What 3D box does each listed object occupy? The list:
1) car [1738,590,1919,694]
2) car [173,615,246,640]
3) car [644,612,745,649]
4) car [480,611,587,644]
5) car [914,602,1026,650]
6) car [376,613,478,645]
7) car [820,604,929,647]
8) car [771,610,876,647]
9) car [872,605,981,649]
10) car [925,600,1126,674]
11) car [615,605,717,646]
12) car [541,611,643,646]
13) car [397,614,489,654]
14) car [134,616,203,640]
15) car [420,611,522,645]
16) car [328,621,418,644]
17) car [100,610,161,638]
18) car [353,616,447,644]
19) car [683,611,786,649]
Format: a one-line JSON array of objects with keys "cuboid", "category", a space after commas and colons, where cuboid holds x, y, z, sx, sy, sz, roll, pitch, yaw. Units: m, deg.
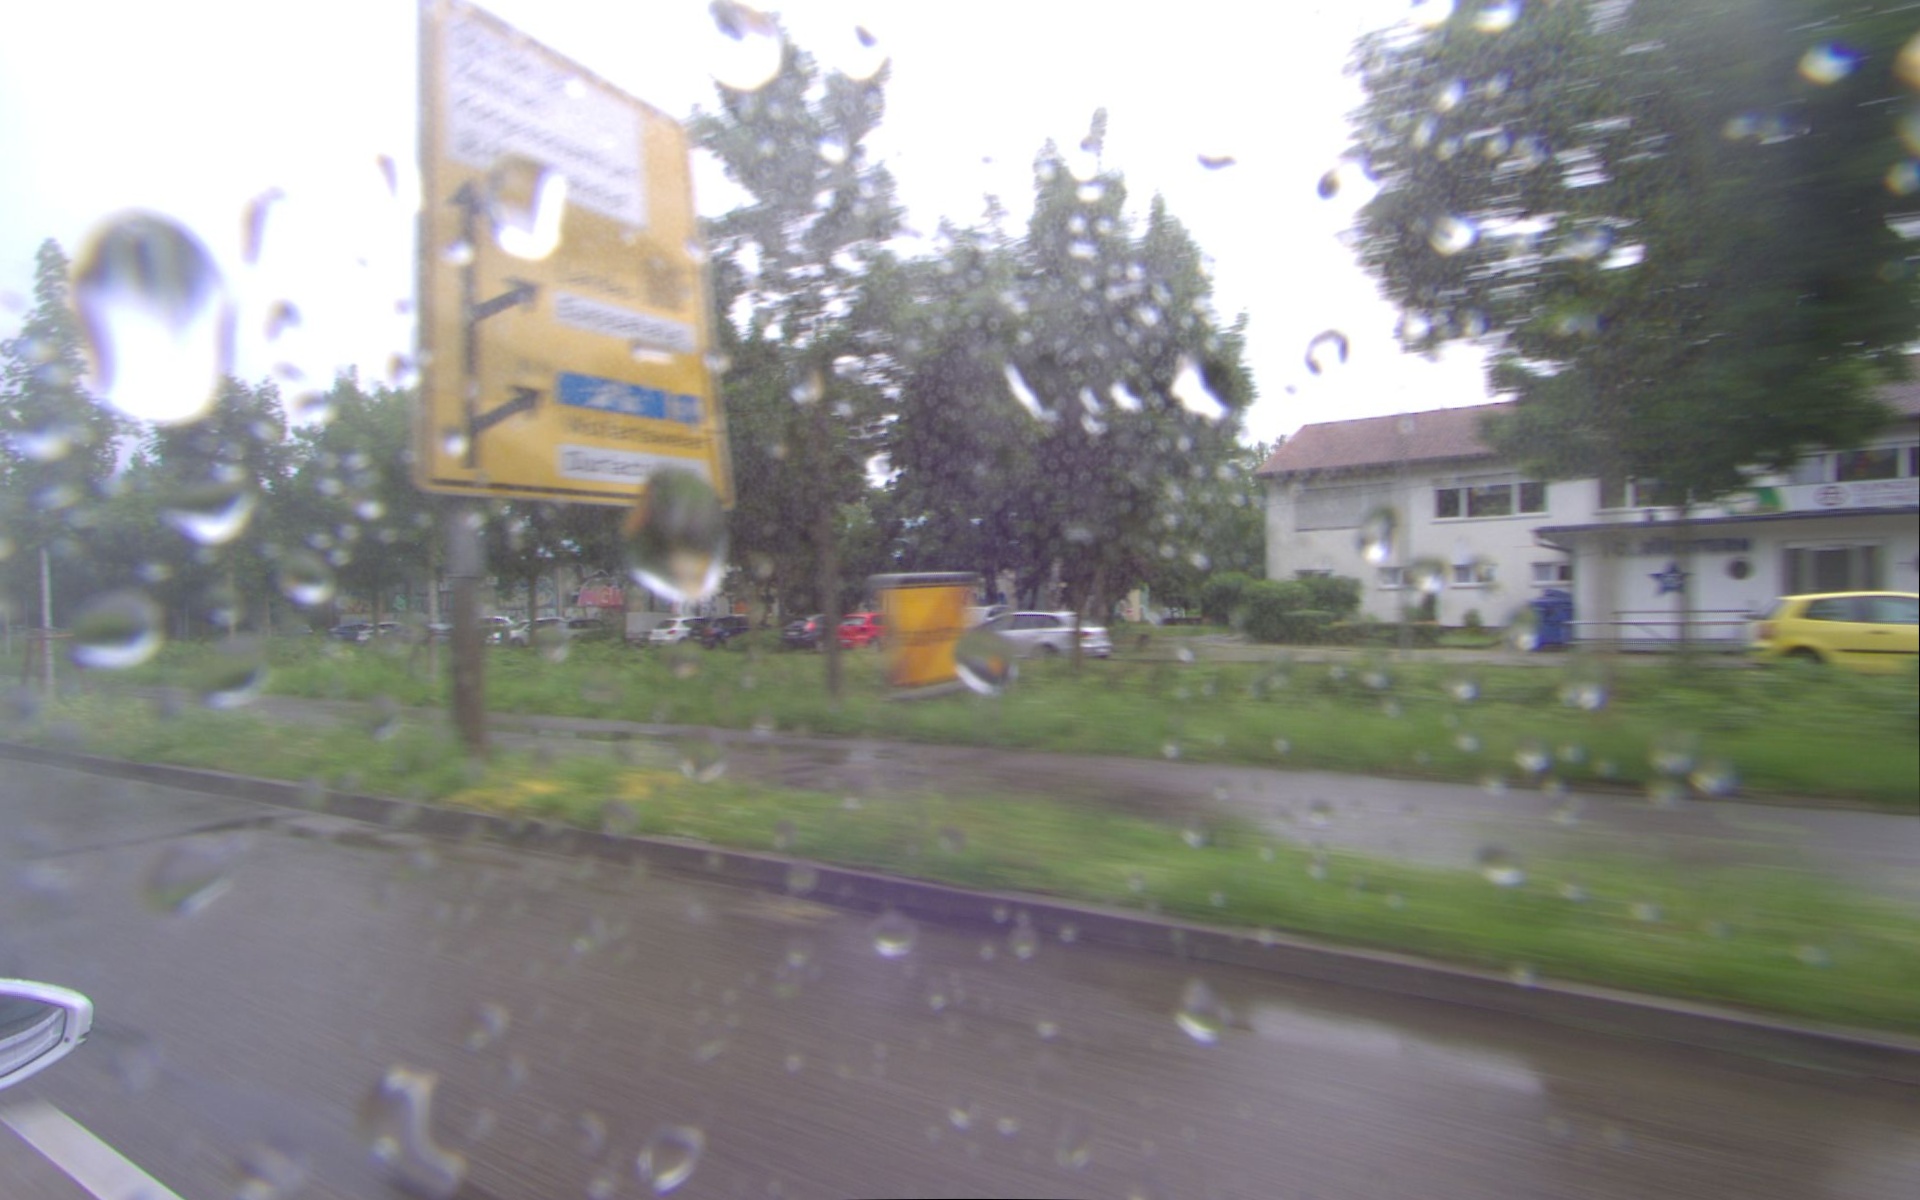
[{"cuboid": [14.519, 0.639, 15.259, 4.015, 1.505, 1.634, -2, -2, 33], "category": "car"}, {"cuboid": [-55.278, 2.058, 73.837, 1.871, 1.843, 3.946, -1, -3, 35], "category": "car"}, {"cuboid": [-11.334, 1.319, 42.933, 1.735, 1.502, 4.184, -1, -3, 31], "category": "car"}, {"cuboid": [-21.153, 1.387, 49.824, 1.921, 1.577, 4.554, -2, -3, 37], "category": "car"}, {"cuboid": [0.401, 0.919, 33.951, 1.896, 1.522, 4.329, -1, -3, 31], "category": "car"}, {"cuboid": [-28.757, 1.588, 54.206, 1.970, 1.665, 4.567, -1, -2, 29], "category": "car"}, {"cuboid": [-3.133, 0.980, 37.369, 1.917, 1.502, 4.329, -1, -3, 31], "category": "car"}, {"cuboid": [-5.185, 1.128, 38.618, 1.840, 1.357, 4.174, -1, -3, 31], "category": "car"}, {"cuboid": [-1.147, 1.013, 36.097, 1.917, 1.502, 4.329, -1, -3, 31], "category": "car"}, {"cuboid": [1.569, 0.879, 24.651, 4.579, 1.647, 1.988, -2, 0, 35], "category": "car"}, {"cuboid": [-13.302, 1.191, 45.607, 1.917, 1.746, 4.329, -1, -2, 31], "category": "car"}, {"cuboid": [-17.366, 1.368, 47.406, 1.917, 1.577, 4.329, -1, -3, 31], "category": "car"}, {"cuboid": [-21.005, 1.342, 40.604, 4.068, 1.465, 1.738, 1, 1, 37], "category": "car"}, {"cuboid": [-62.893, 2.240, 79.600, 1.871, 1.843, 3.946, -1, -3, 35], "category": "car"}, {"cuboid": [-25.825, 1.533, 53.049, 1.971, 1.727, 4.565, -1, -3, 30], "category": "car"}, {"cuboid": [-35.163, 1.962, 60.087, 1.810, 1.351, 4.395, -1, -3, 29], "category": "car"}, {"cuboid": [-71.051, 2.062, 85.785, 1.567, 2.353, 3.713, -1, -2, 35], "category": "car"}, {"cuboid": [-32.996, 1.805, 59.159, 1.835, 1.566, 4.567, -1, -3, 29], "category": "car"}, {"cuboid": [-9.216, 1.245, 41.205, 1.765, 1.478, 4.122, -1, -3, 33], "category": "car"}]
